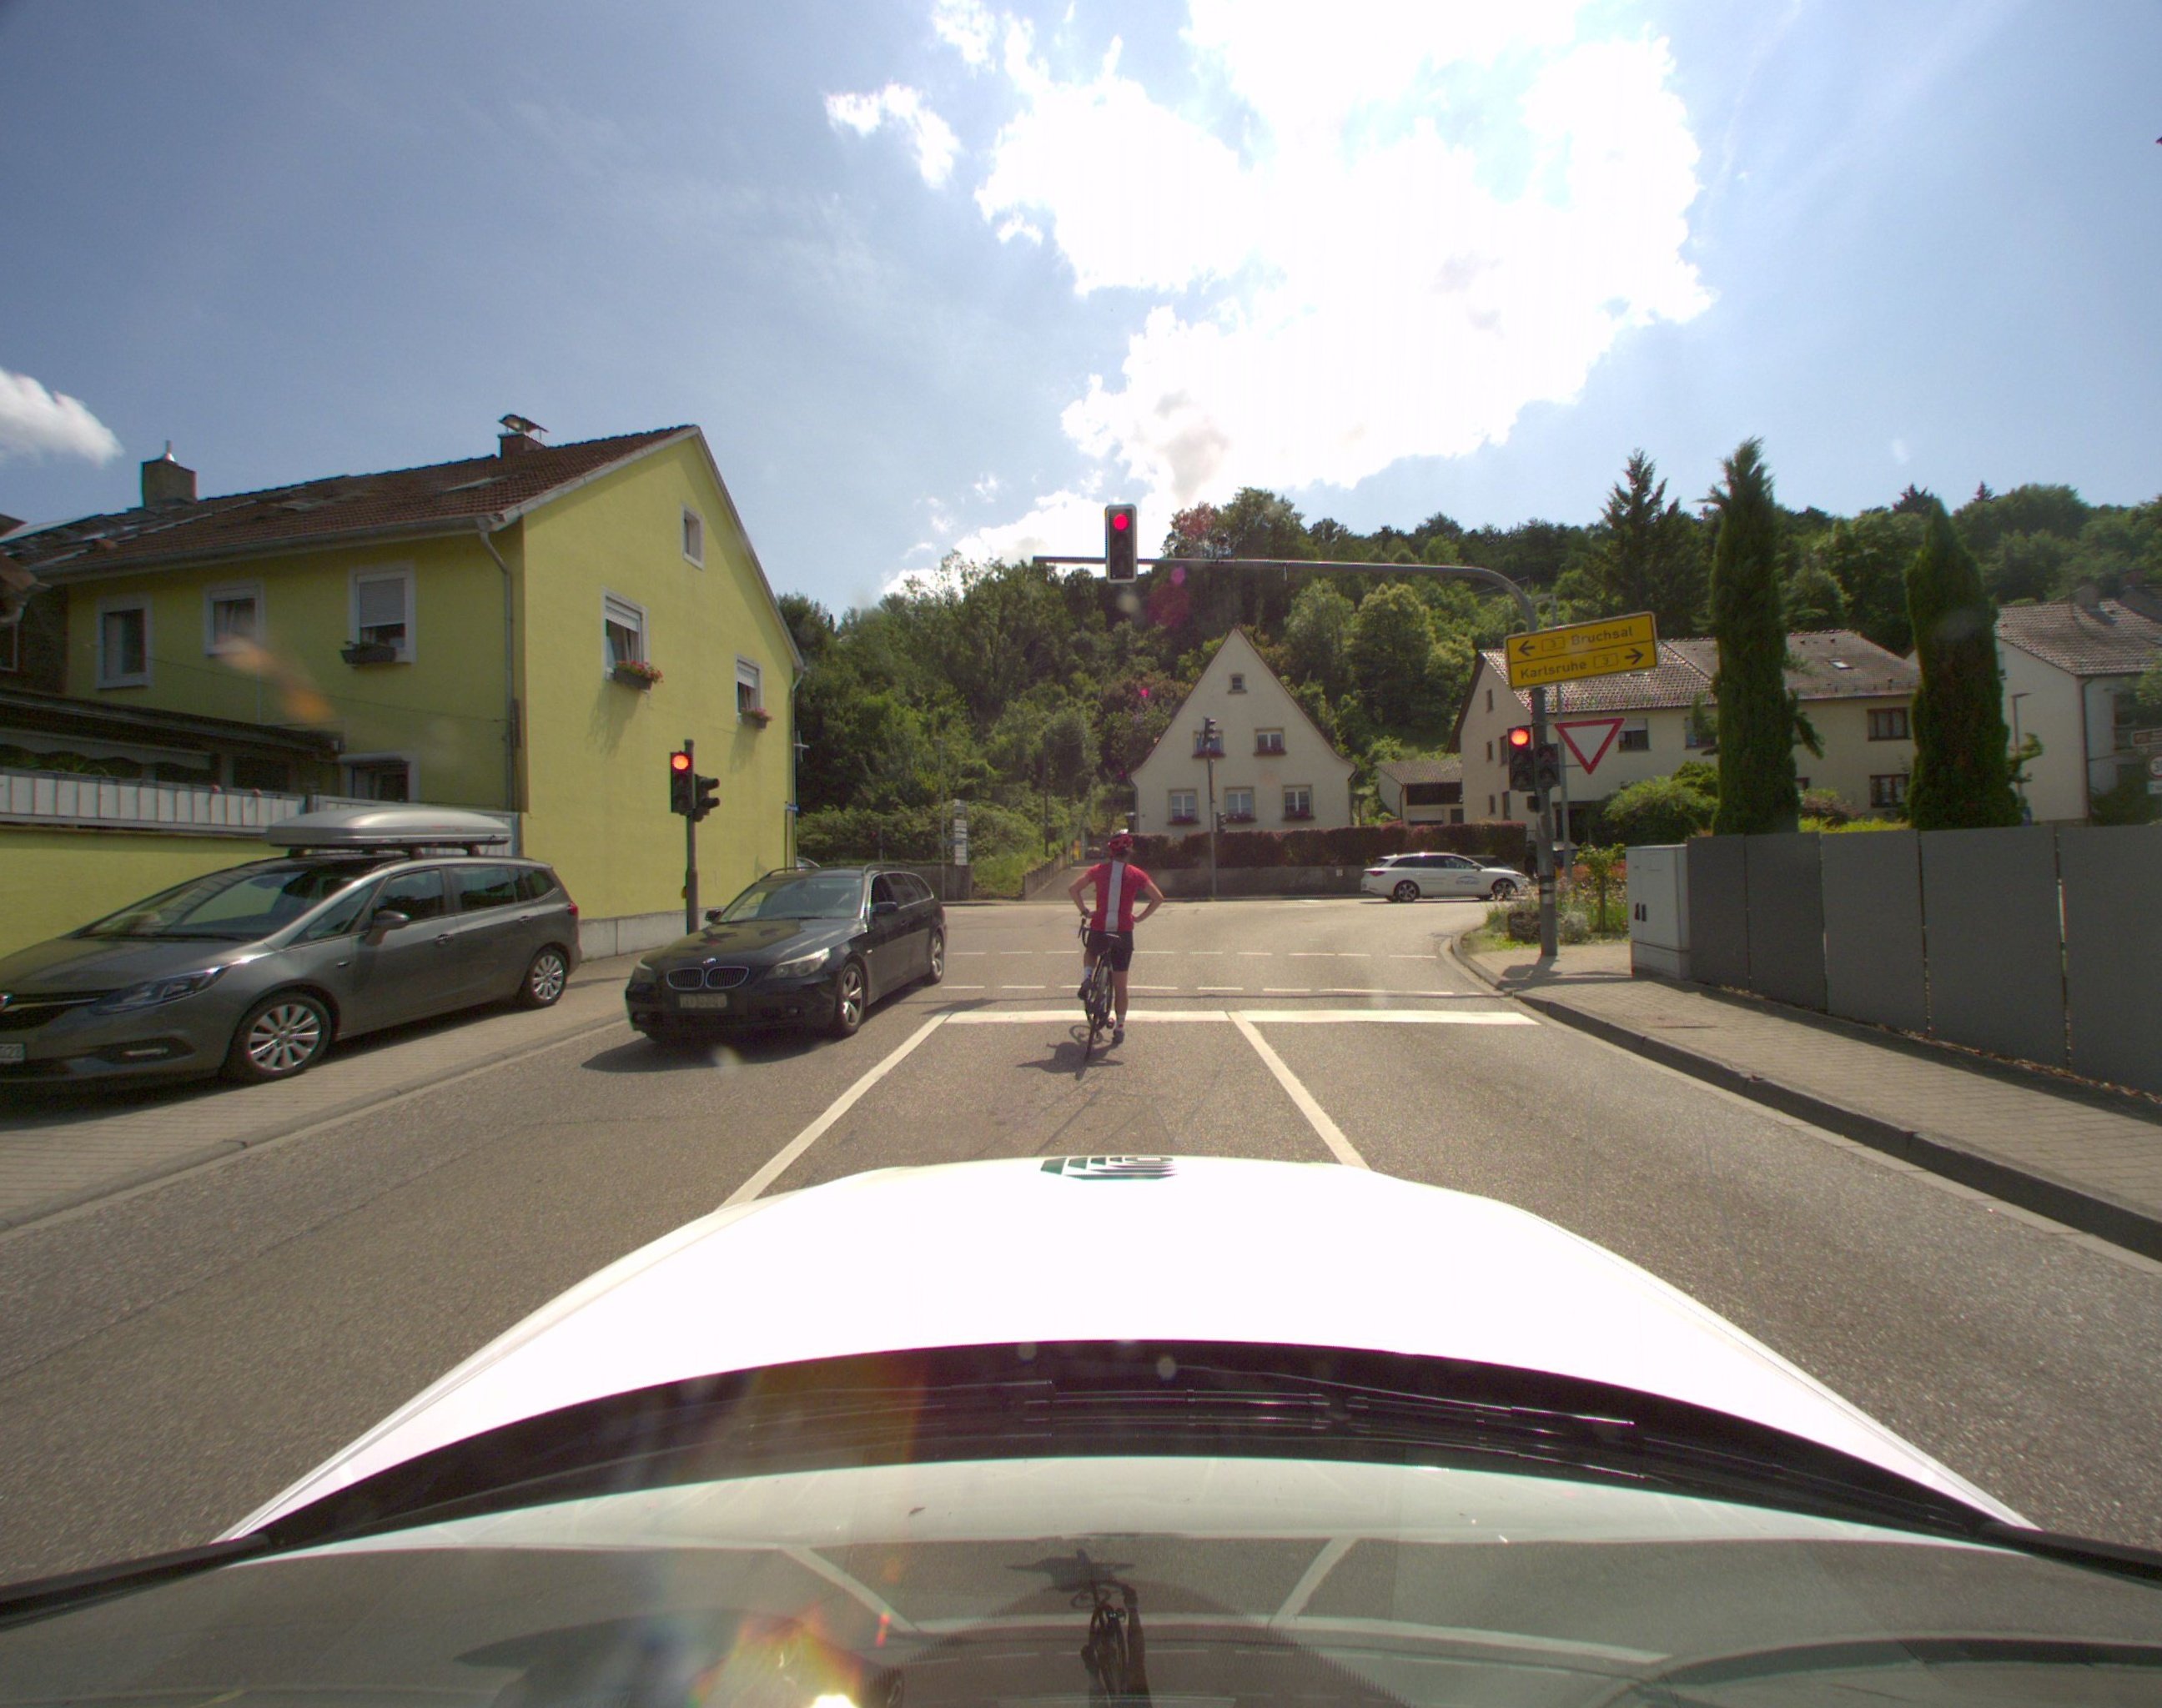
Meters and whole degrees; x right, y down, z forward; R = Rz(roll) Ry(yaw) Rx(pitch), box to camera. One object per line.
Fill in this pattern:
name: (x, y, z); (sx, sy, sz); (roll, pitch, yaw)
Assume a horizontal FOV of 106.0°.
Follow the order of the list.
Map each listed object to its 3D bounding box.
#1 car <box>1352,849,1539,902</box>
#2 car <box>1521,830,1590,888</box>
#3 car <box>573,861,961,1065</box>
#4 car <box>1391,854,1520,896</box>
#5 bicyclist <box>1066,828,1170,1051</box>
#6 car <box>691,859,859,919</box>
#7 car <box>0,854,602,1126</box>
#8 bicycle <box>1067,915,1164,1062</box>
car: (10.590, 0.660, 23.996); (4.637, 1.427, 1.932); (-1, -2, 8)
car: (18.677, 0.168, 32.192); (1.780, 1.388, 3.709); (-1, 13, 21)
car: (-2.751, 0.855, 8.534); (1.855, 1.442, 4.677); (-3, 0, 5)
car: (12.534, 0.736, 27.434); (3.590, 1.363, 1.647); (-1, -3, 6)
bicyclist: (0.271, 0.638, 6.550); (0.759, 1.664, 0.867); (0, 0, -3)
car: (-10.115, 1.163, 27.063); (4.844, 1.822, 2.005); (-1, -3, 9)
car: (-6.684, 0.820, 7.236); (1.986, 1.635, 4.632); (0, 0, 2)
bicycle: (0.229, 1.004, 6.540); (0.628, 0.905, 1.655); (0, 0, -3)
